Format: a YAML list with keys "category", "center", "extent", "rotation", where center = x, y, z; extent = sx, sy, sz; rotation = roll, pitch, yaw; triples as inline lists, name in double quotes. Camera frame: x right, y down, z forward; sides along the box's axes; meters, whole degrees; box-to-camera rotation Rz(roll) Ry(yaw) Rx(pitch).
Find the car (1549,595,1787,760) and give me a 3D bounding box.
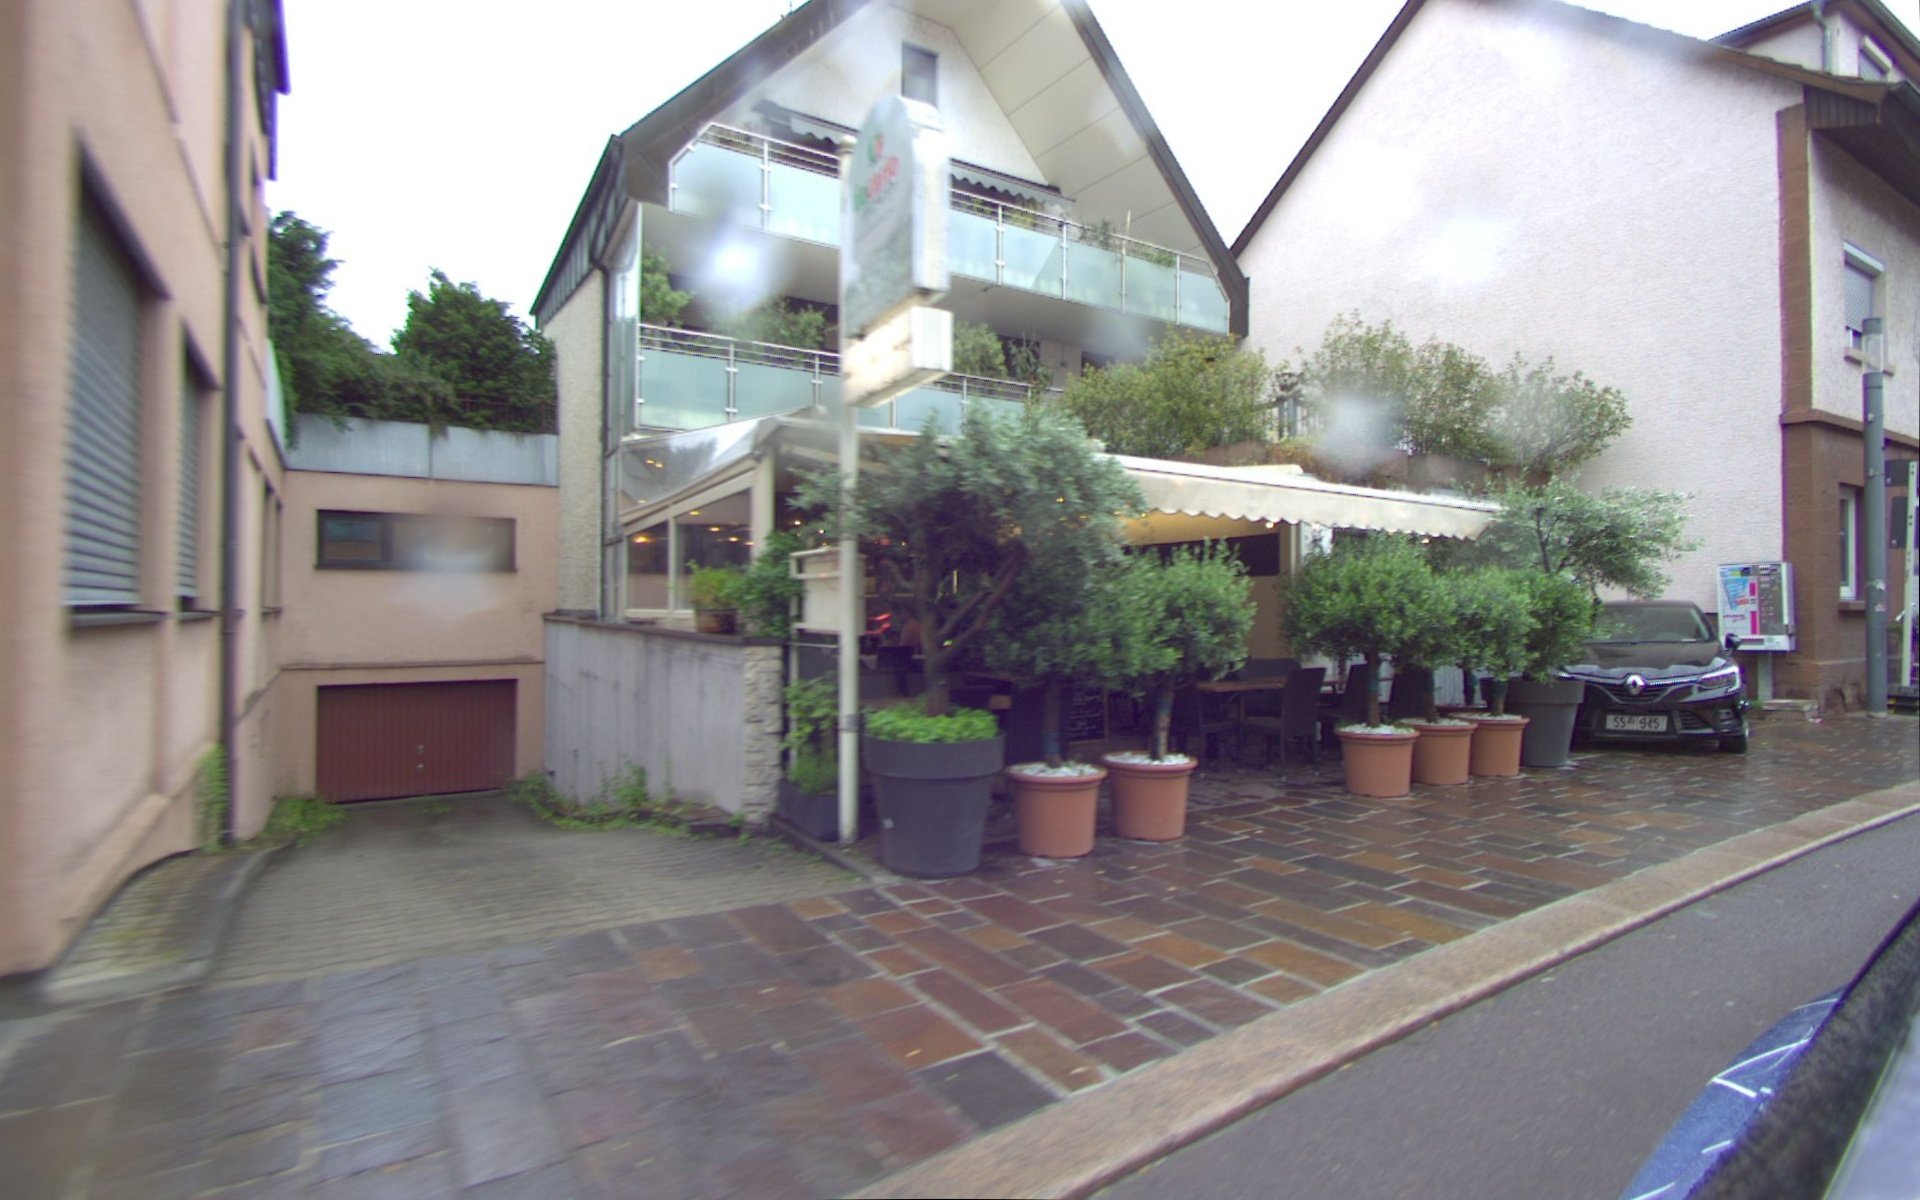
- category: "car"
  center: [7.257, 0.643, 10.586]
  extent: [1.726, 1.374, 3.890]
  rotation: [0, 0, 33]
